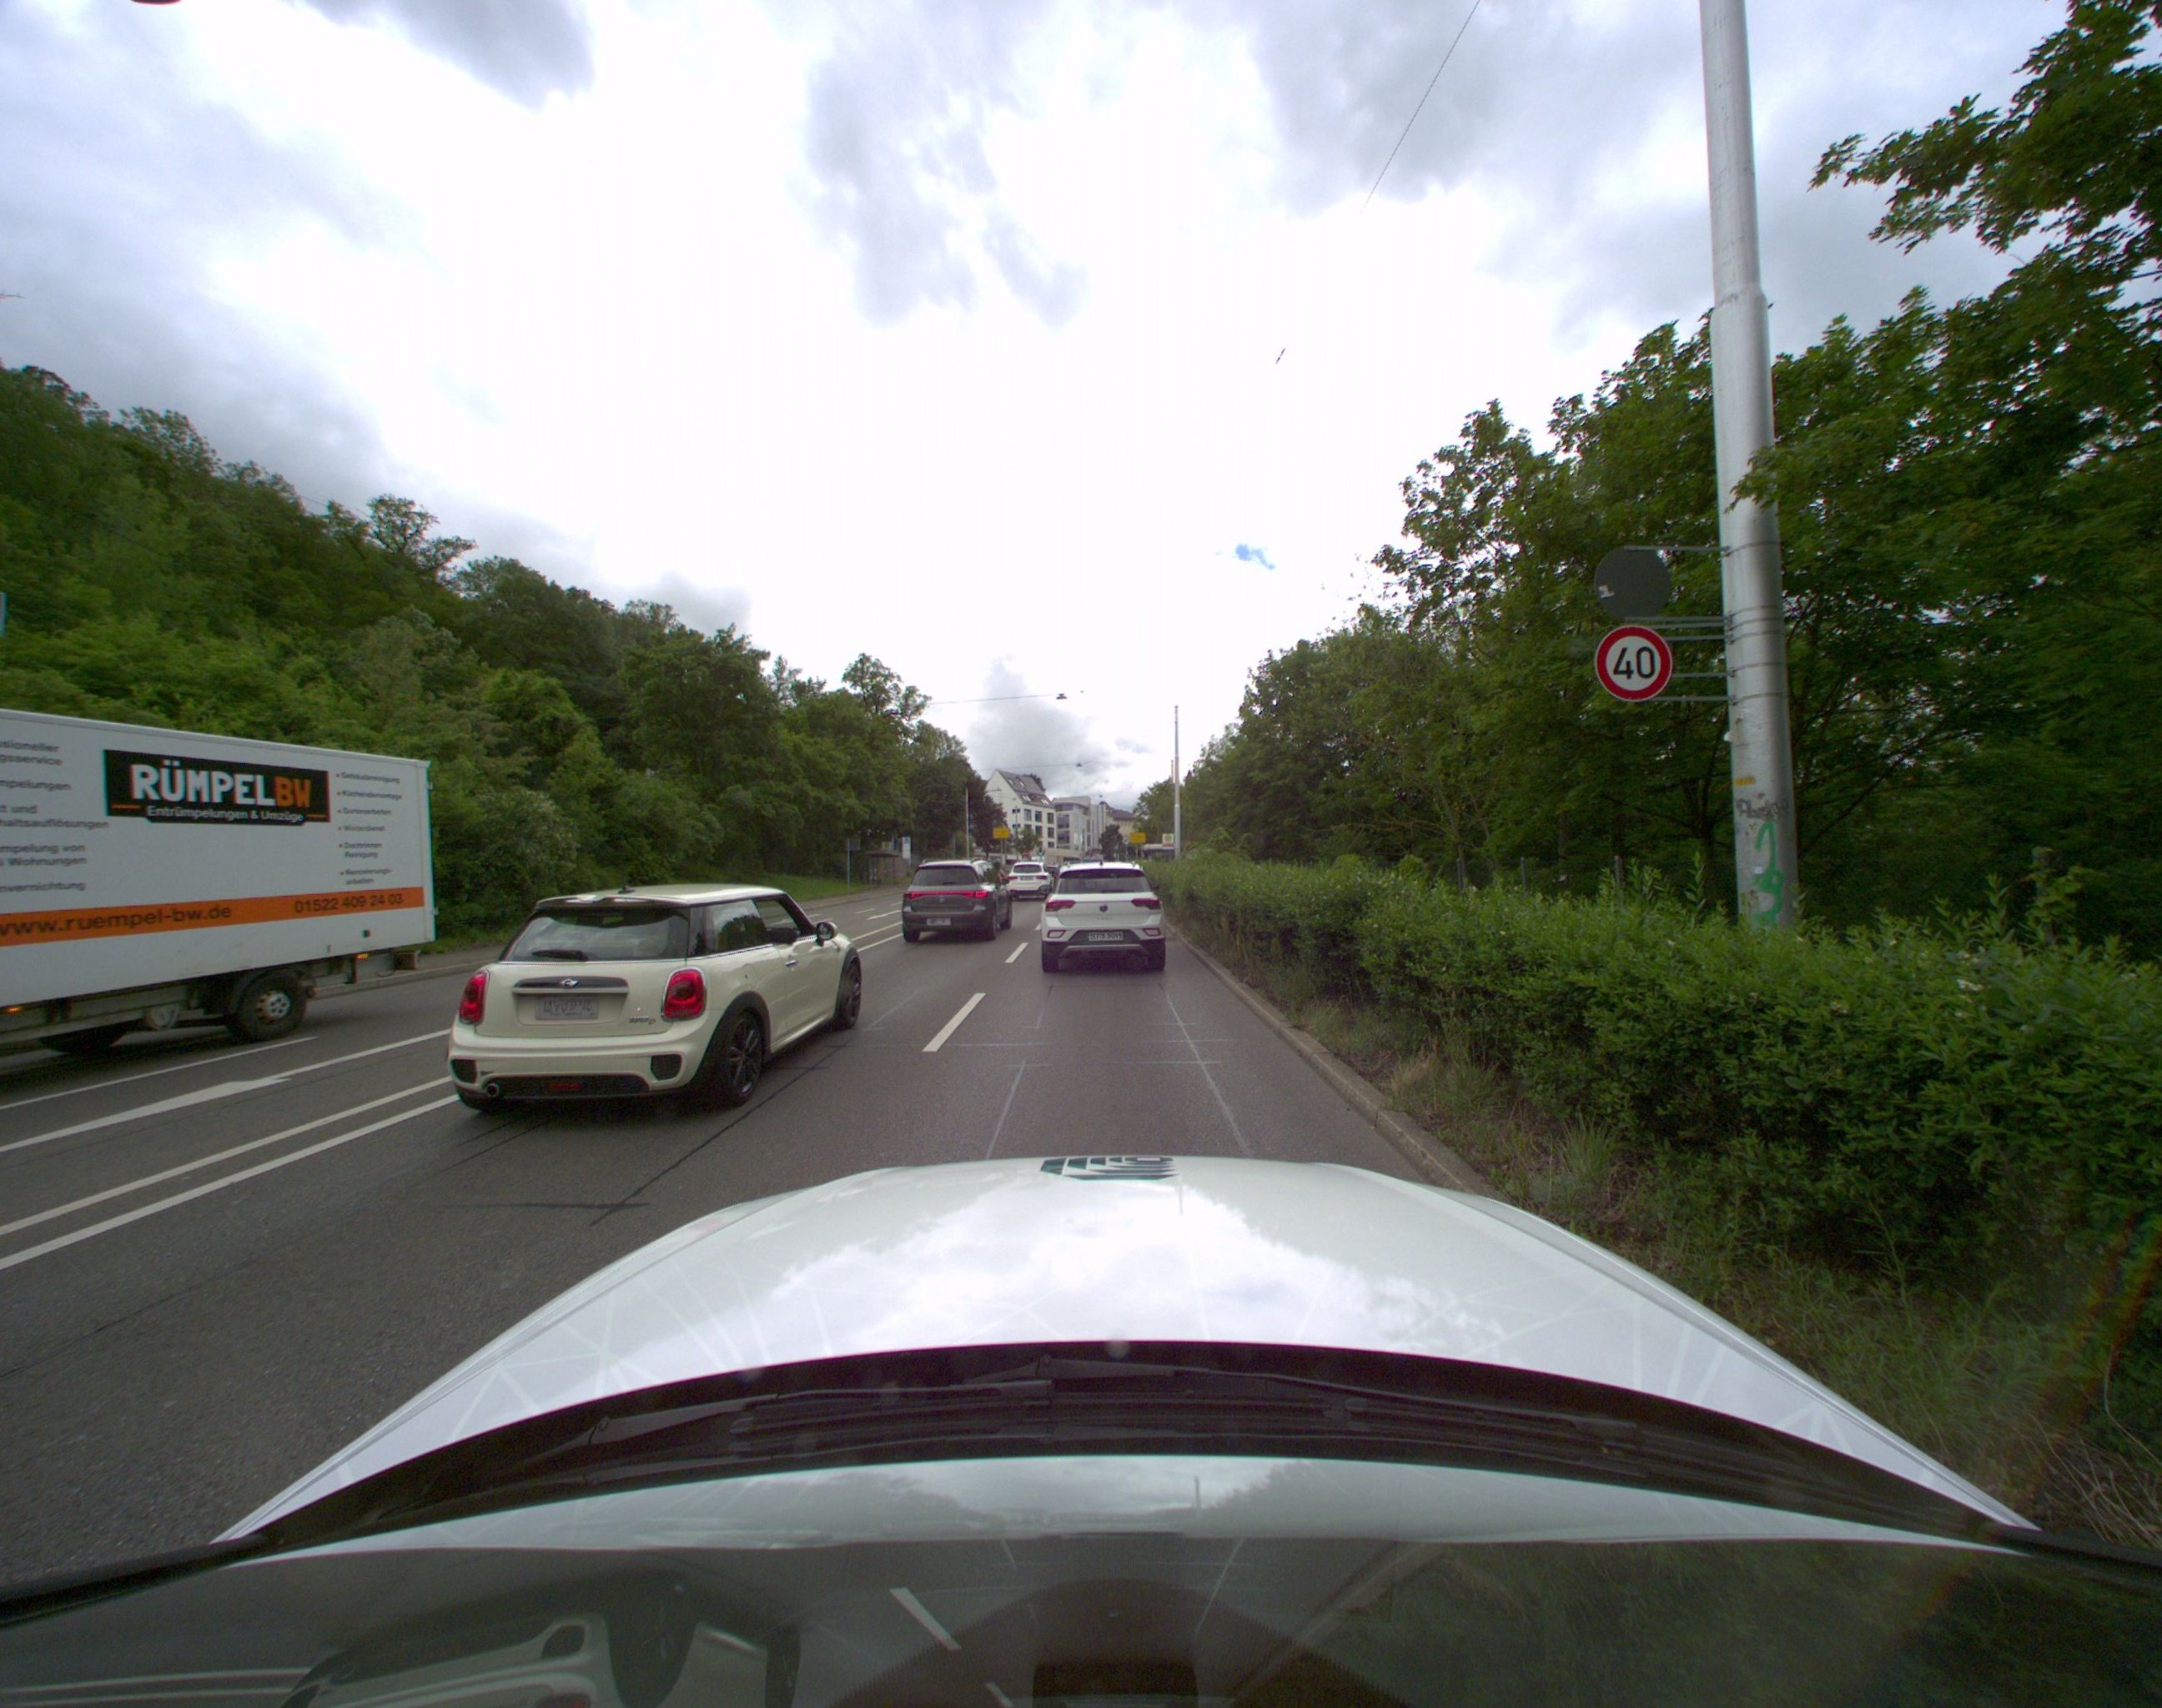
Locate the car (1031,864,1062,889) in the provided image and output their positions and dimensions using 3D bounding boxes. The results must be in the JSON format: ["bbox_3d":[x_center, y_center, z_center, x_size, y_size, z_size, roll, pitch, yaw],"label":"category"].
[{"bbox_3d":[-2.205,1.413,53.076,1.852,1.500,4.054,-2,-1,0],"label":"car"}]

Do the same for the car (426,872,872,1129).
[{"bbox_3d":[-2.960,0.885,6.499,1.623,1.393,3.565,-2,-1,0],"label":"car"}]

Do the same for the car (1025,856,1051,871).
[{"bbox_3d":[-7.518,1.586,143.440,2.214,2.568,7.455,-1,-1,17],"label":"car"}]

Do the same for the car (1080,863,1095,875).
[{"bbox_3d":[0.842,1.862,103.015,1.852,1.500,4.054,-2,-1,0],"label":"car"}]

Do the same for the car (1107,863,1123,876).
[{"bbox_3d":[4.273,1.935,102.433,1.852,1.500,4.054,-2,-1,0],"label":"car"}]

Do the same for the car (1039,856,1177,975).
[{"bbox_3d":[0.355,0.849,12.761,1.806,1.539,3.688,-2,-1,0],"label":"car"}]

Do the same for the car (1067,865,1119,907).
[{"bbox_3d":[0.442,1.202,32.200,1.852,1.500,4.054,-2,-1,0],"label":"car"}]

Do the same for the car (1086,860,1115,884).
[{"bbox_3d":[1.334,1.209,56.392,1.867,1.501,4.555,2,-1,1],"label":"car"}]

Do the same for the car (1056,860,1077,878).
[{"bbox_3d":[-1.282,1.387,74.930,1.852,1.500,4.054,-2,-1,0],"label":"car"}]

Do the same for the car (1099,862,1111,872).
[{"bbox_3d":[3.765,2.086,127.746,1.852,1.500,4.056,-2,-1,1],"label":"car"}]

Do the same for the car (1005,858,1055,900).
[{"bbox_3d":[-2.156,1.059,35.485,1.852,1.652,4.635,-2,-1,0],"label":"car"}]

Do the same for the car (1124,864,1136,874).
[{"bbox_3d":[7.713,2.404,127.844,1.850,1.500,4.059,-2,-1,4],"label":"car"}]

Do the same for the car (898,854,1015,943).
[{"bbox_3d":[-2.571,0.876,17.889,1.807,1.652,4.635,-2,-1,0],"label":"car"}]

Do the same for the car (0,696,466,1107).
[{"bbox_3d":[-9.174,0.381,7.021,2.263,3.056,7.233,-1,-1,0],"label":"car"}]
